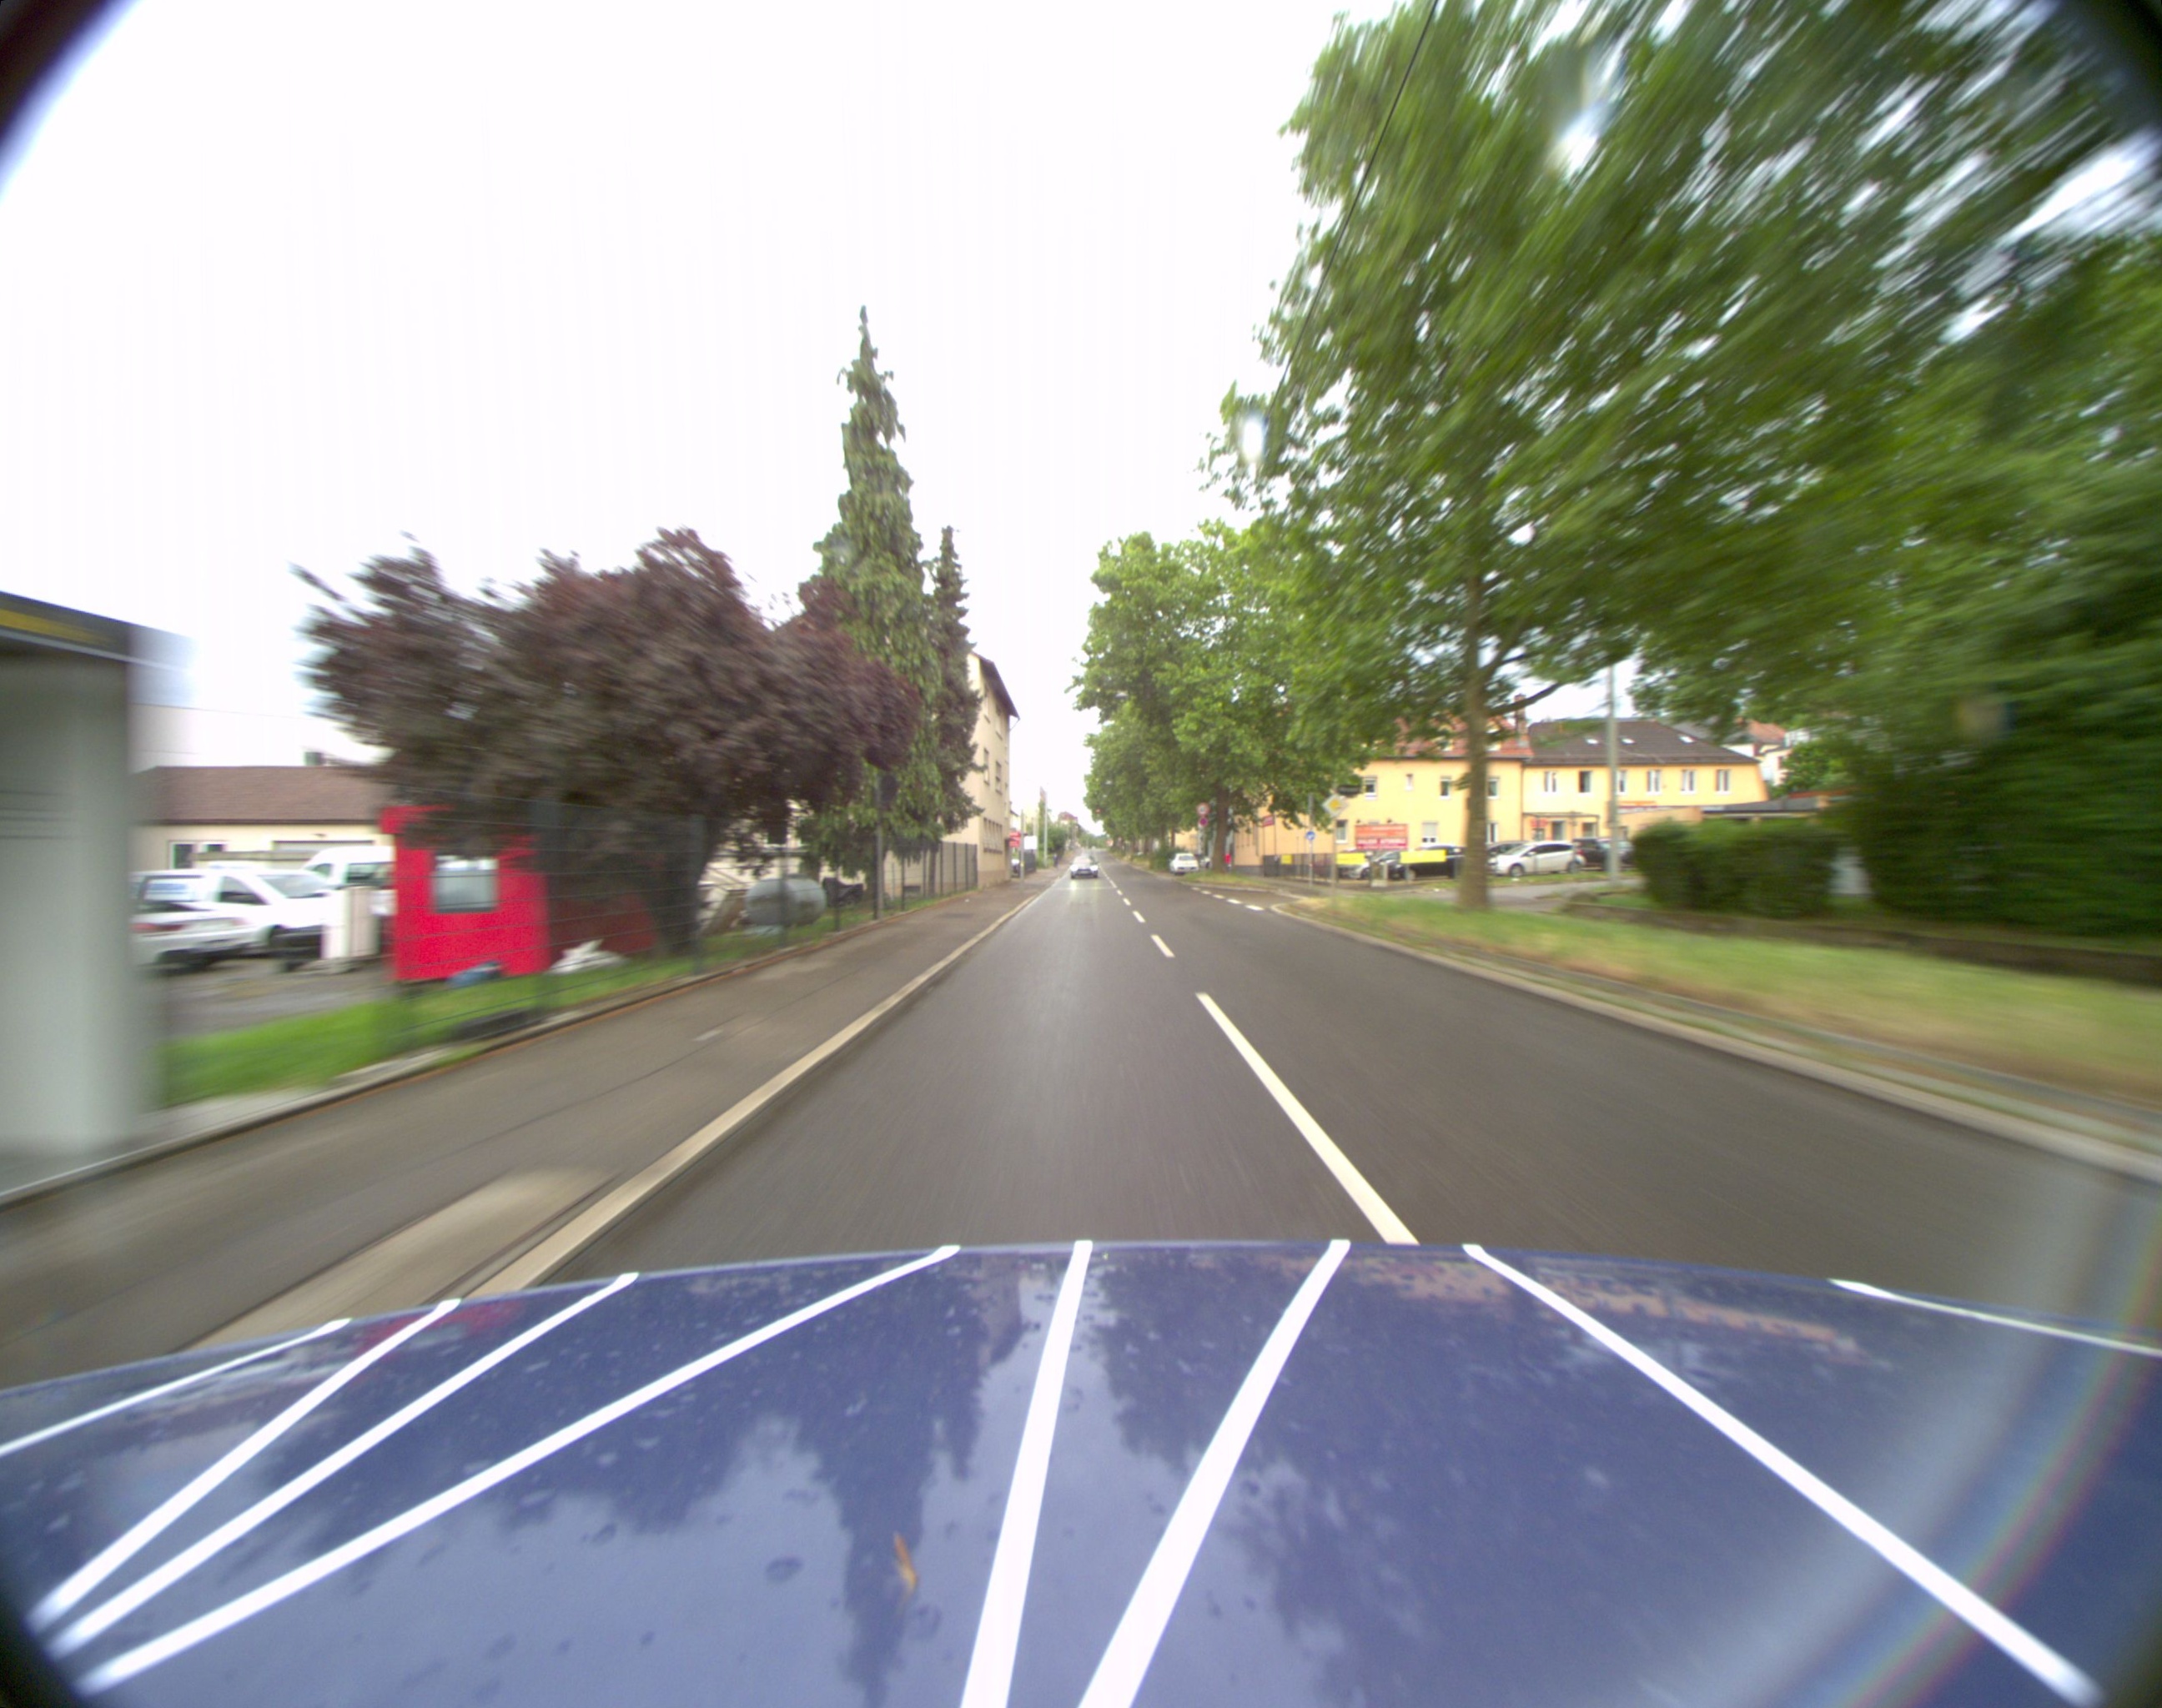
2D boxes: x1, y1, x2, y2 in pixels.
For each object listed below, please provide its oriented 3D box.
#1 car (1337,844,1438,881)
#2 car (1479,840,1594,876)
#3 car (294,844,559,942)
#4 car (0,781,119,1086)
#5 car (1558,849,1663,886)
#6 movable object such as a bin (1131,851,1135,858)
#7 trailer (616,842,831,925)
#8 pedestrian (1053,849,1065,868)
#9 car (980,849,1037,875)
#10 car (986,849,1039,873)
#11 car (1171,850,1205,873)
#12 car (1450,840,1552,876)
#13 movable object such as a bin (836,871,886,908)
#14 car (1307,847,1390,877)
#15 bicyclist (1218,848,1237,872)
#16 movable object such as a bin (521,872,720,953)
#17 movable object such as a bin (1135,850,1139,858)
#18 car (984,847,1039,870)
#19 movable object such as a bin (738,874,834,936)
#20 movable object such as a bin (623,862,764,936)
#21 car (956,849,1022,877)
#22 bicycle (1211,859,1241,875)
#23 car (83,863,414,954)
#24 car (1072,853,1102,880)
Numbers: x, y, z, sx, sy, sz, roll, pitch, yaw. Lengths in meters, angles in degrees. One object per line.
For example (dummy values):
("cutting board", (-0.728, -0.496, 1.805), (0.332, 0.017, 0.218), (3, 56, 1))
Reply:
("car", (15.383, 0.404, 38.288), (4.218, 1.530, 1.982), (-3, 2, -1))
("car", (21.152, 0.176, 35.393), (4.178, 1.488, 1.999), (-2, 2, -1))
("car", (-16.263, 0.919, 19.086), (4.833, 2.258, 1.999), (-1, 2, 0))
("car", (-10.583, 0.644, 5.086), (5.582, 2.198, 2.000), (-1, 0, -1))
("car", (26.895, 0.663, 38.679), (3.996, 1.674, 1.886), (-2, 2, 3))
("movable object such as a bin", (7.579, 0.052, 110.934), (0.513, 0.922, 0.581), (0, 2, 1))
("trailer", (-10.679, 0.838, 23.027), (5.434, 2.175, 2.045), (-2, 2, 0))
("pedestrian", (-2.145, 0.424, 74.055), (1.045, 1.887, 0.900), (-1, 2, 1))
("car", (-5.523, 0.607, 57.990), (4.077, 1.726, 1.869), (-2, 2, 1))
("car", (-5.468, 0.509, 60.652), (3.958, 1.714, 1.791), (-2, 1, 1))
("car", (7.540, 0.486, 54.054), (1.790, 1.542, 4.351), (-1, 0, 0))
("car", (20.994, 0.175, 38.066), (3.997, 1.644, 1.999), (-2, 2, -1))
("movable object such as a bin", (-7.930, 1.277, 27.458), (1.331, 1.173, 1.218), (-4, 0, 0))
("car", (15.295, 0.438, 43.632), (4.108, 1.489, 1.958), (-2, 1, 3))
("bicyclist", (9.761, 0.403, 50.593), (0.836, 1.544, 0.814), (-4, 2, -34))
("movable object such as a bin", (-10.465, 1.302, 17.493), (3.339, 1.568, 1.891), (-2, 0, -2))
("movable object such as a bin", (8.143, -0.010, 111.069), (0.536, 1.051, 0.762), (0, 2, 1))
("car", (-5.758, 0.351, 63.072), (4.313, 1.758, 1.999), (-2, 2, 1))
("movable object such as a bin", (-7.277, 1.218, 18.981), (1.374, 1.312, 2.858), (-2, 0, -4))
("movable object such as a bin", (-10.157, 1.137, 20.110), (2.623, 1.706, 2.083), (-2, 0, -2))
("car", (-6.370, 0.603, 52.870), (4.239, 1.726, 1.869), (-2, 2, 1))
("bicycle", (9.665, 0.858, 50.691), (0.557, 0.990, 2.260), (-4, 2, -34))
("car", (-17.624, 1.104, 16.323), (4.610, 1.684, 1.999), (-1, 2, -4))
("car", (0.391, 0.784, 51.186), (1.949, 1.644, 3.858), (-1, 1, 0))
